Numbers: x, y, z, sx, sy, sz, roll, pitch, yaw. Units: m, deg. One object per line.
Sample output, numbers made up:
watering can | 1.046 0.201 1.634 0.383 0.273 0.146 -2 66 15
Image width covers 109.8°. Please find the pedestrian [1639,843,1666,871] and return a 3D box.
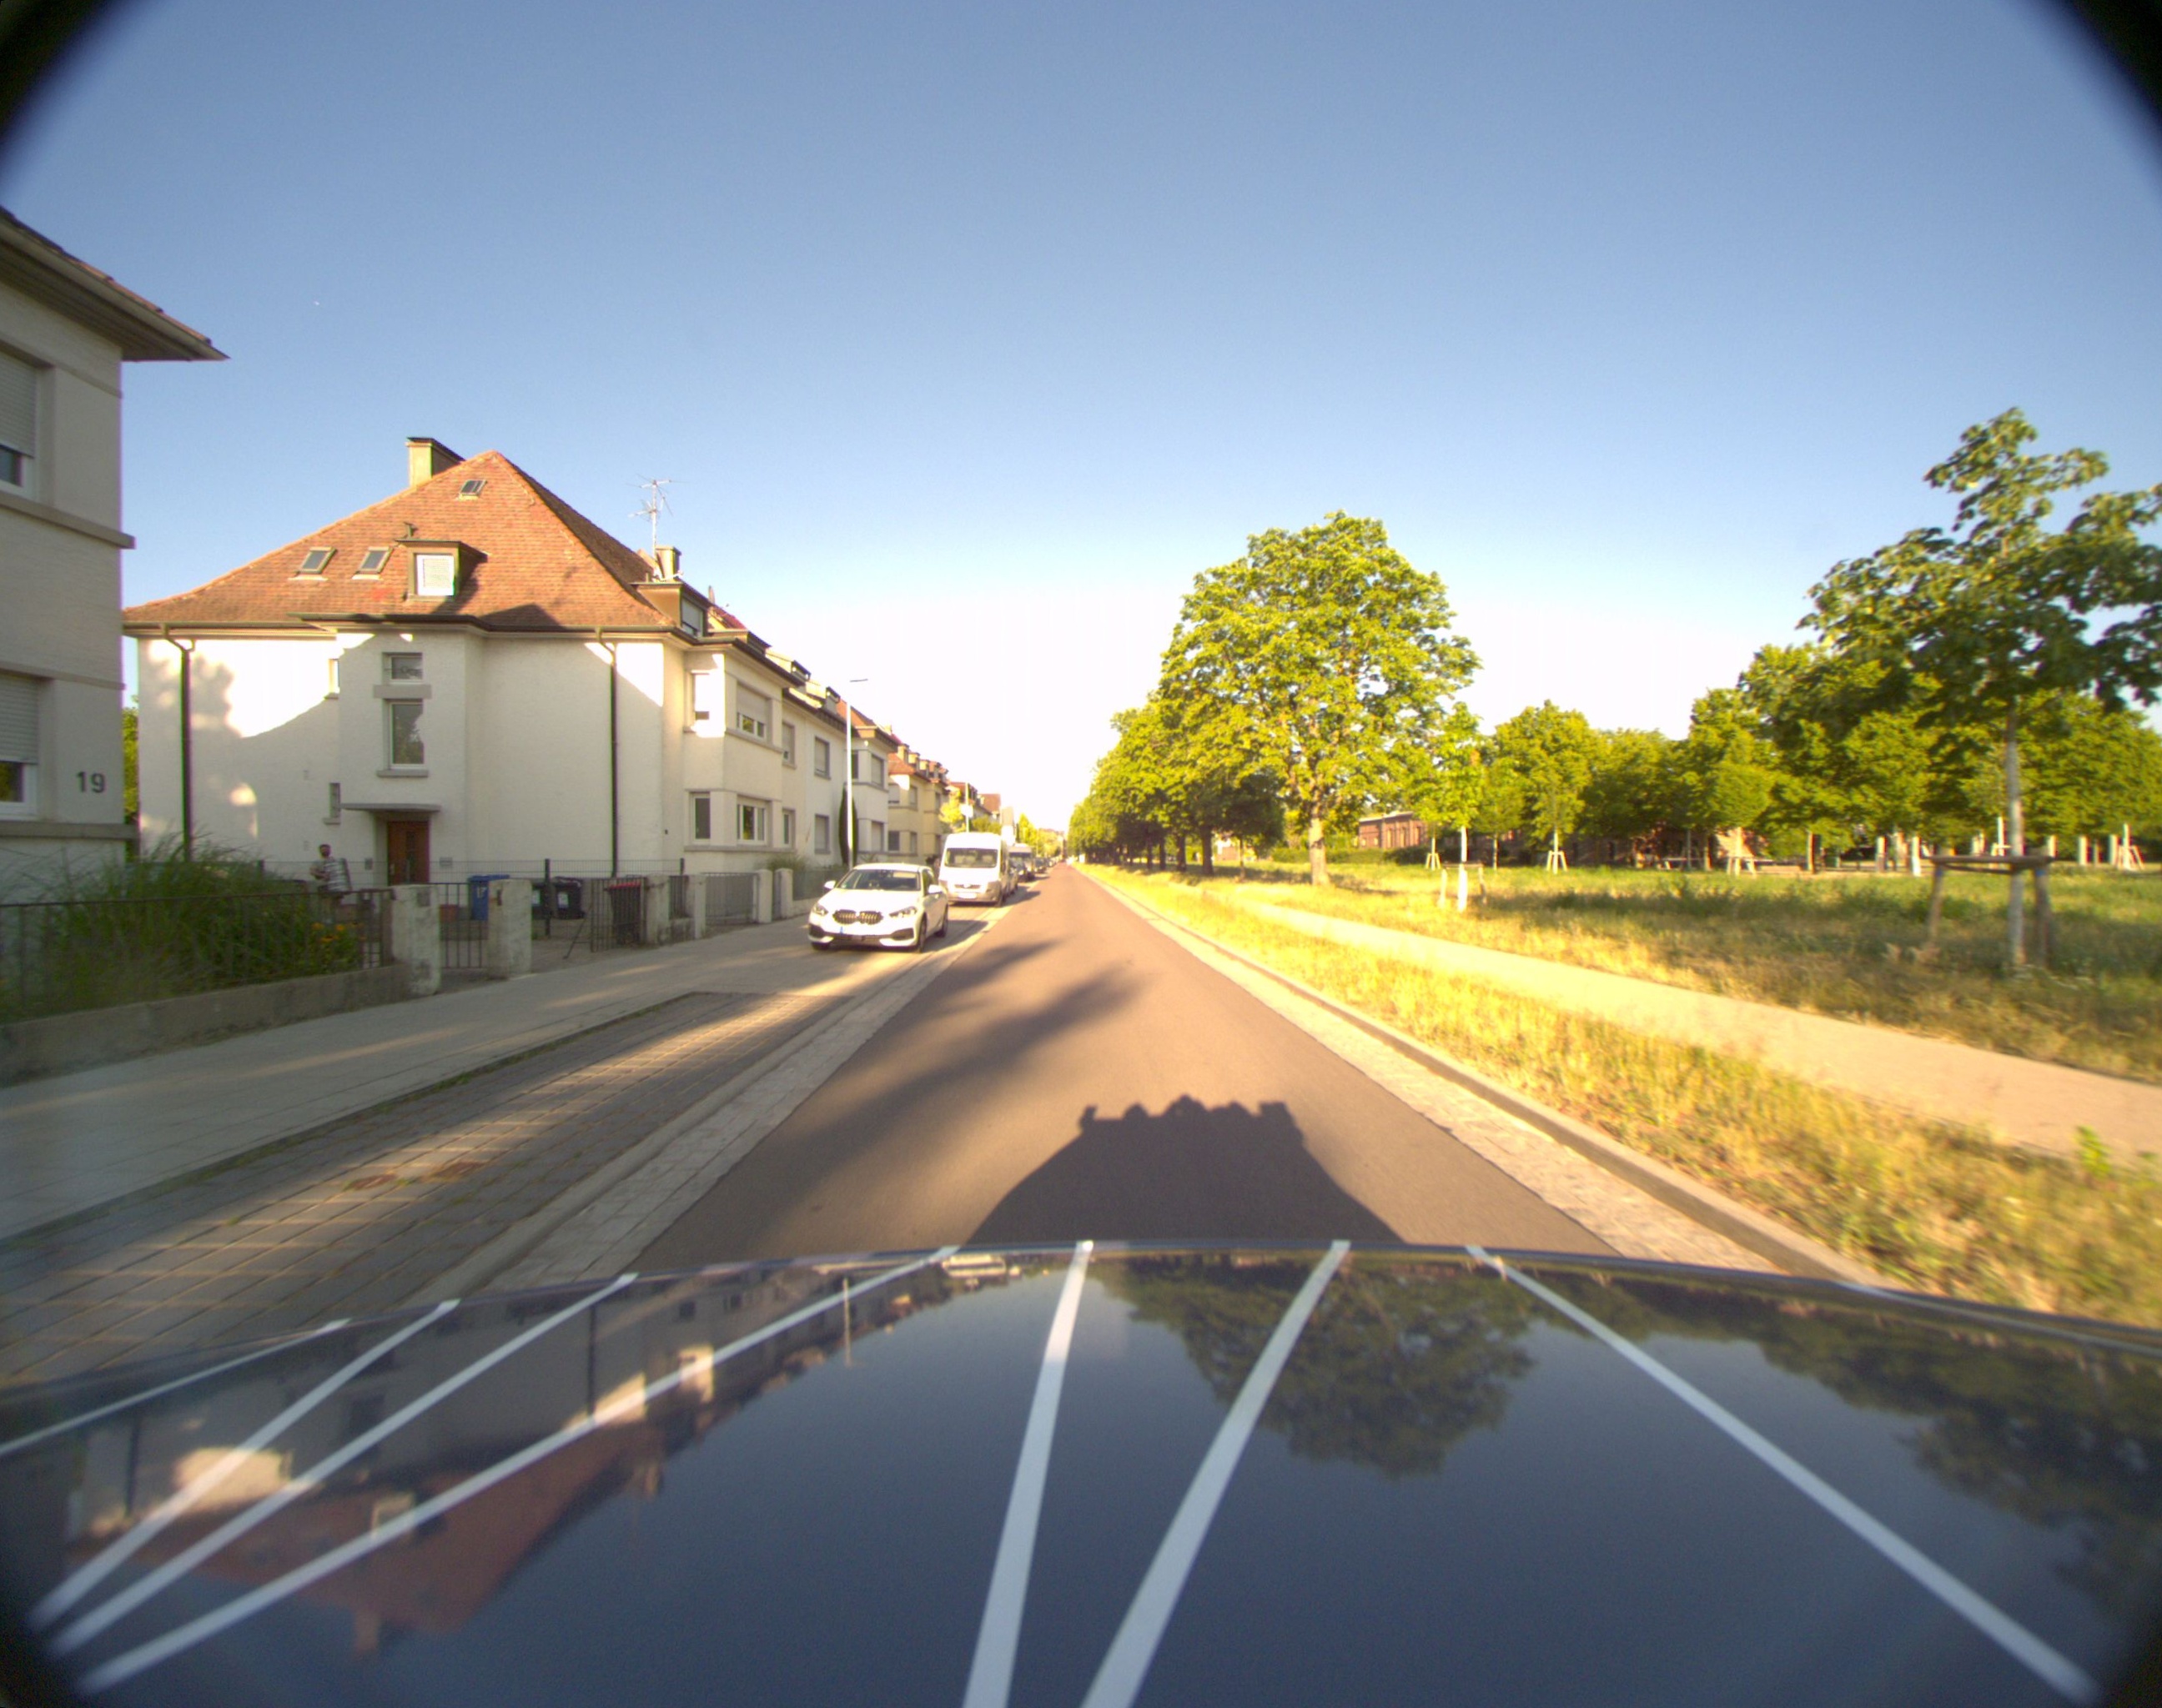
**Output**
pedestrian | 39.255 0.195 52.177 1.115 1.852 0.984 -1 0 5

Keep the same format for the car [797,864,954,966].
car | -3.491 0.969 13.741 1.787 1.498 4.233 1 0 -2

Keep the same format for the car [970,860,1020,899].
car | -3.611 1.045 32.560 1.626 1.474 4.108 -1 0 0

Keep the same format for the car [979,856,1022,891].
car | -3.936 0.905 37.768 1.782 1.635 4.479 0 0 -1

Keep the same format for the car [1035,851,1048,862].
car | -6.408 0.376 123.795 1.974 1.630 4.000 -1 0 0

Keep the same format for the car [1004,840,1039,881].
car | -4.406 0.459 57.112 2.135 2.837 5.986 -1 0 -1

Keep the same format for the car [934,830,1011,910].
car | -3.661 0.503 26.645 2.135 2.503 5.507 0 0 -3

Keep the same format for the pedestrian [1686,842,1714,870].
pedestrian | 42.715 0.147 52.421 1.115 1.852 0.984 -1 0 5

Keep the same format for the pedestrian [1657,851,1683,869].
pedestrian | 42.545 0.414 54.915 1.116 1.287 0.982 -1 0 -10

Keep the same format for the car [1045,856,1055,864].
car | -6.633 1.197 161.080 1.974 1.630 3.999 -1 0 -1

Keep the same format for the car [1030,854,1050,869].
car | -4.466 0.808 83.654 1.974 1.630 4.000 1 0 -1

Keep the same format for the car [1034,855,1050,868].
car | -5.200 1.031 102.667 1.974 1.630 4.000 1 0 -1

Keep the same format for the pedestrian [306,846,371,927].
pedestrian | -16.334 0.705 16.739 0.696 1.750 0.714 0 1 -2

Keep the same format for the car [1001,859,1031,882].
car | -4.313 1.061 50.940 1.629 1.431 4.004 -1 0 0
